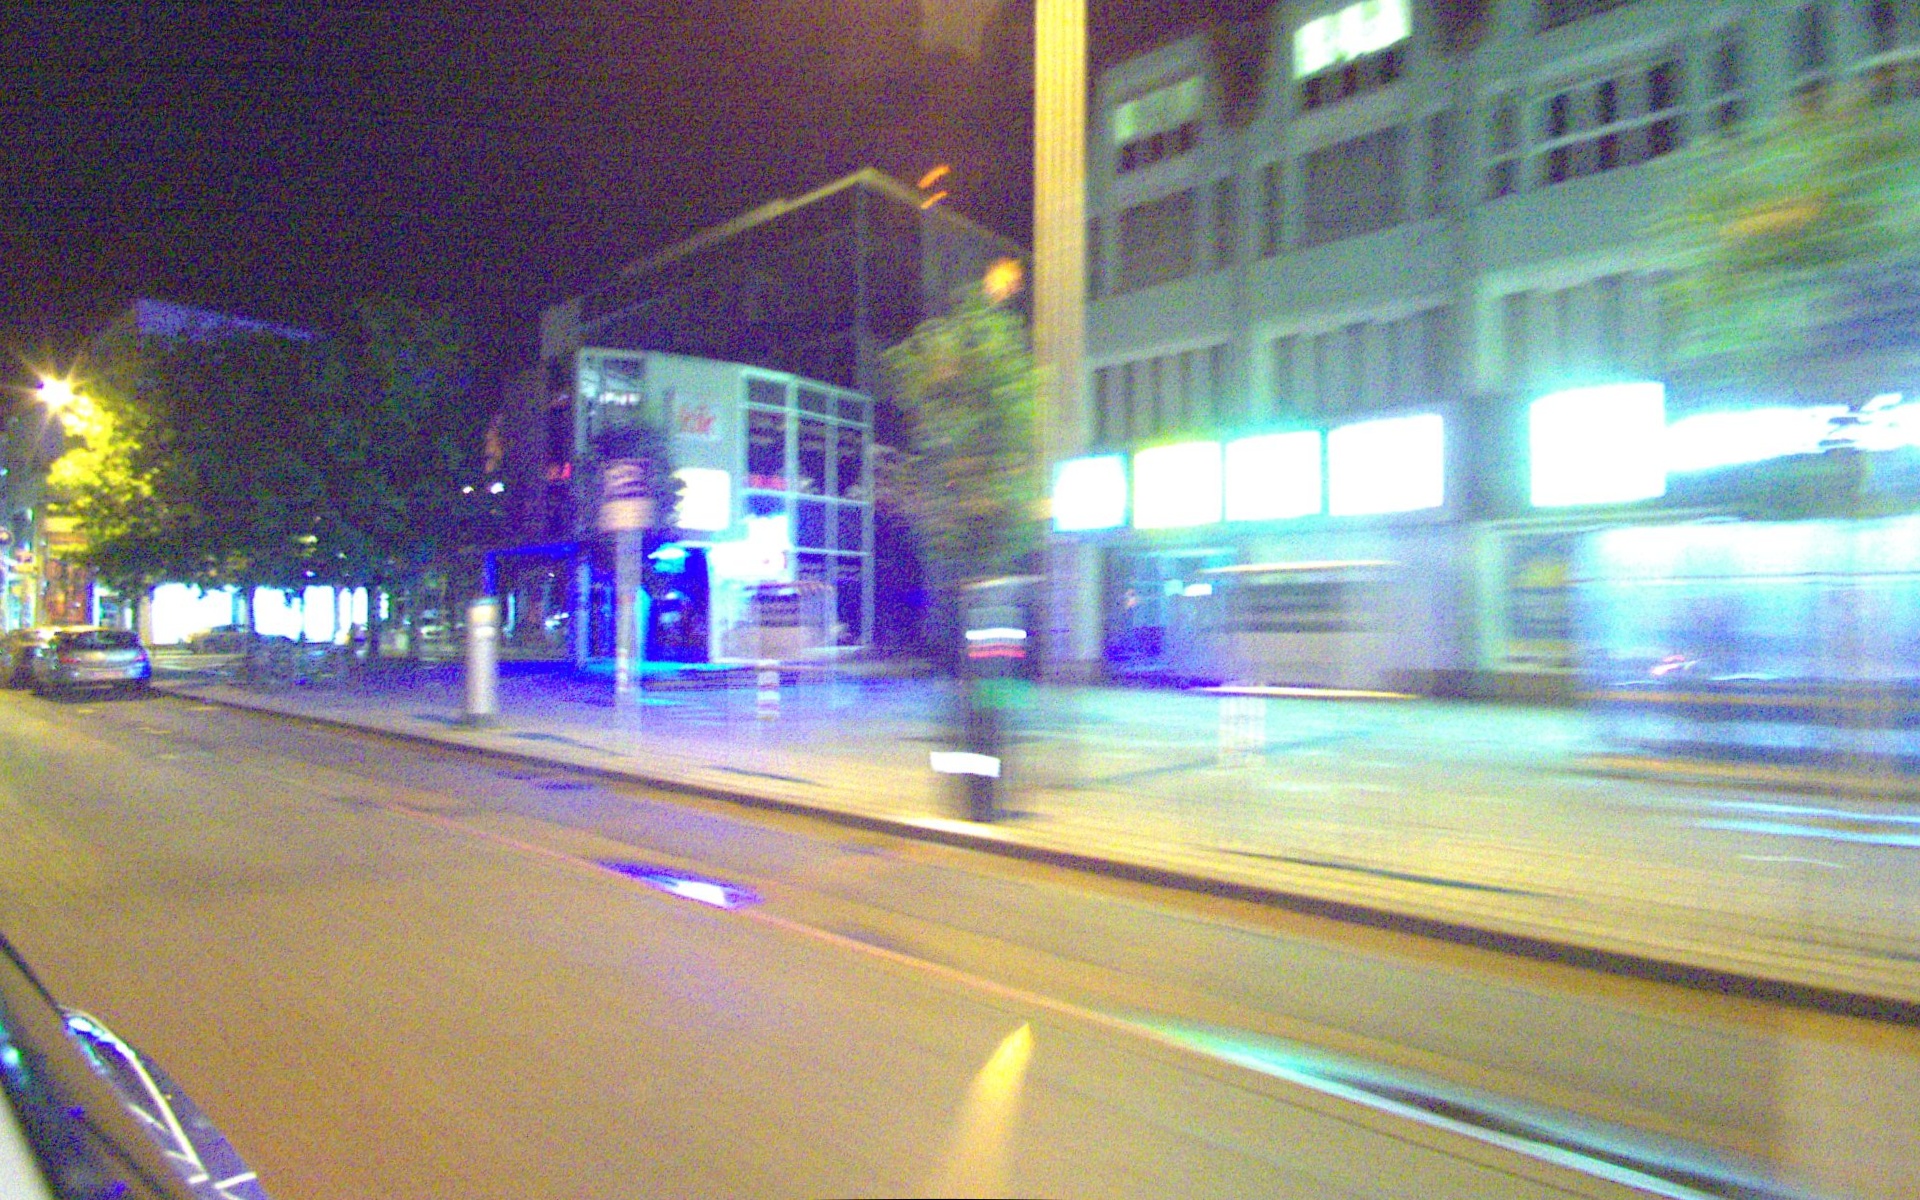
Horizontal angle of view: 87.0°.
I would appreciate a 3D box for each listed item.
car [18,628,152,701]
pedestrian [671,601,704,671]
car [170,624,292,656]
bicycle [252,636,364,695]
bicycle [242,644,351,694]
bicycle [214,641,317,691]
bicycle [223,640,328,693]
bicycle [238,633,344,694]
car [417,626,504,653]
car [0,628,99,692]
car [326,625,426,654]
[{"bbox_3d":[-19.639,1.381,22.671,3.974,1.439,1.704,-1,0,41],"label":"car"},{"bbox_3d":[-6.498,0.856,24.139,0.631,1.649,0.473,-1,-3,41],"label":"pedestrian"},{"bbox_3d":[-33.852,1.831,47.075,1.801,1.408,4.285,-1,-2,39],"label":"car"},{"bbox_3d":[-13.372,1.323,20.808,0.532,1.175,1.832,-1,-3,40],"label":"bicycle"},{"bbox_3d":[-13.853,1.424,21.185,0.501,0.975,1.832,-1,-3,40],"label":"bicycle"},{"bbox_3d":[-15.535,1.450,22.676,0.532,1.007,1.832,-1,-1,40],"label":"bicycle"},{"bbox_3d":[-15.028,1.439,22.251,0.532,1.043,1.832,-1,-1,40],"label":"bicycle"},{"bbox_3d":[-14.475,1.348,21.943,0.532,1.263,1.832,-1,-3,40],"label":"bicycle"},{"bbox_3d":[-27.305,2.153,55.383,1.801,1.406,3.859,-1,-2,39],"label":"car"},{"bbox_3d":[-23.835,1.472,26.057,4.918,1.436,1.788,-1,0,41],"label":"car"},{"bbox_3d":[-29.997,2.008,52.041,1.801,1.448,4.094,-1,-2,39],"label":"car"}]
